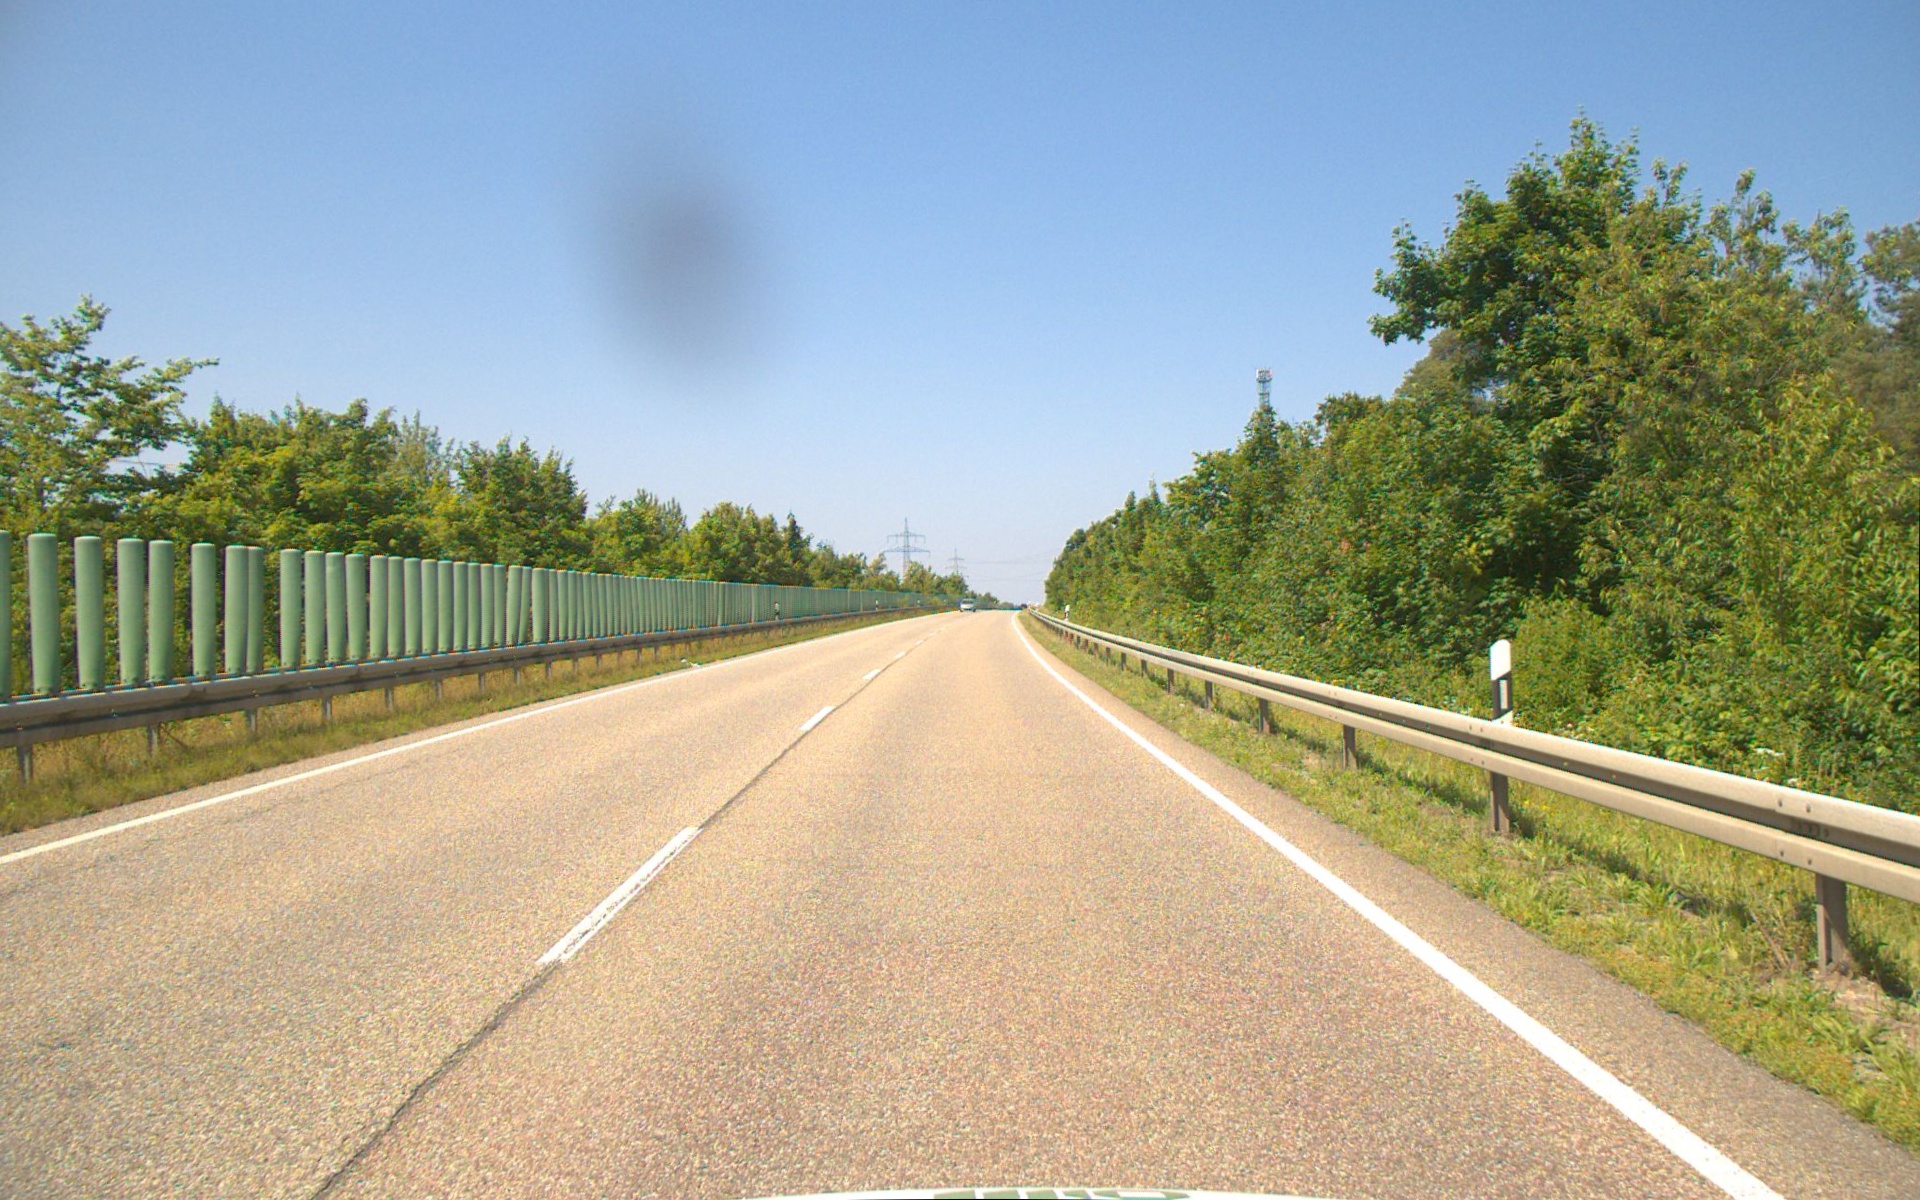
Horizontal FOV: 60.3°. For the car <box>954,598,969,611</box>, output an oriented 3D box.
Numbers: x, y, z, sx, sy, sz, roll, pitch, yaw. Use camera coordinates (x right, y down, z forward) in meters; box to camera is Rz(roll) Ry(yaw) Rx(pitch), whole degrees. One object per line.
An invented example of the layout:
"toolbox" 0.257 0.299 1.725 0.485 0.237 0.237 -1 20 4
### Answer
"car" 0.217 0.500 194.285 1.684 1.527 4.248 0 0 1
